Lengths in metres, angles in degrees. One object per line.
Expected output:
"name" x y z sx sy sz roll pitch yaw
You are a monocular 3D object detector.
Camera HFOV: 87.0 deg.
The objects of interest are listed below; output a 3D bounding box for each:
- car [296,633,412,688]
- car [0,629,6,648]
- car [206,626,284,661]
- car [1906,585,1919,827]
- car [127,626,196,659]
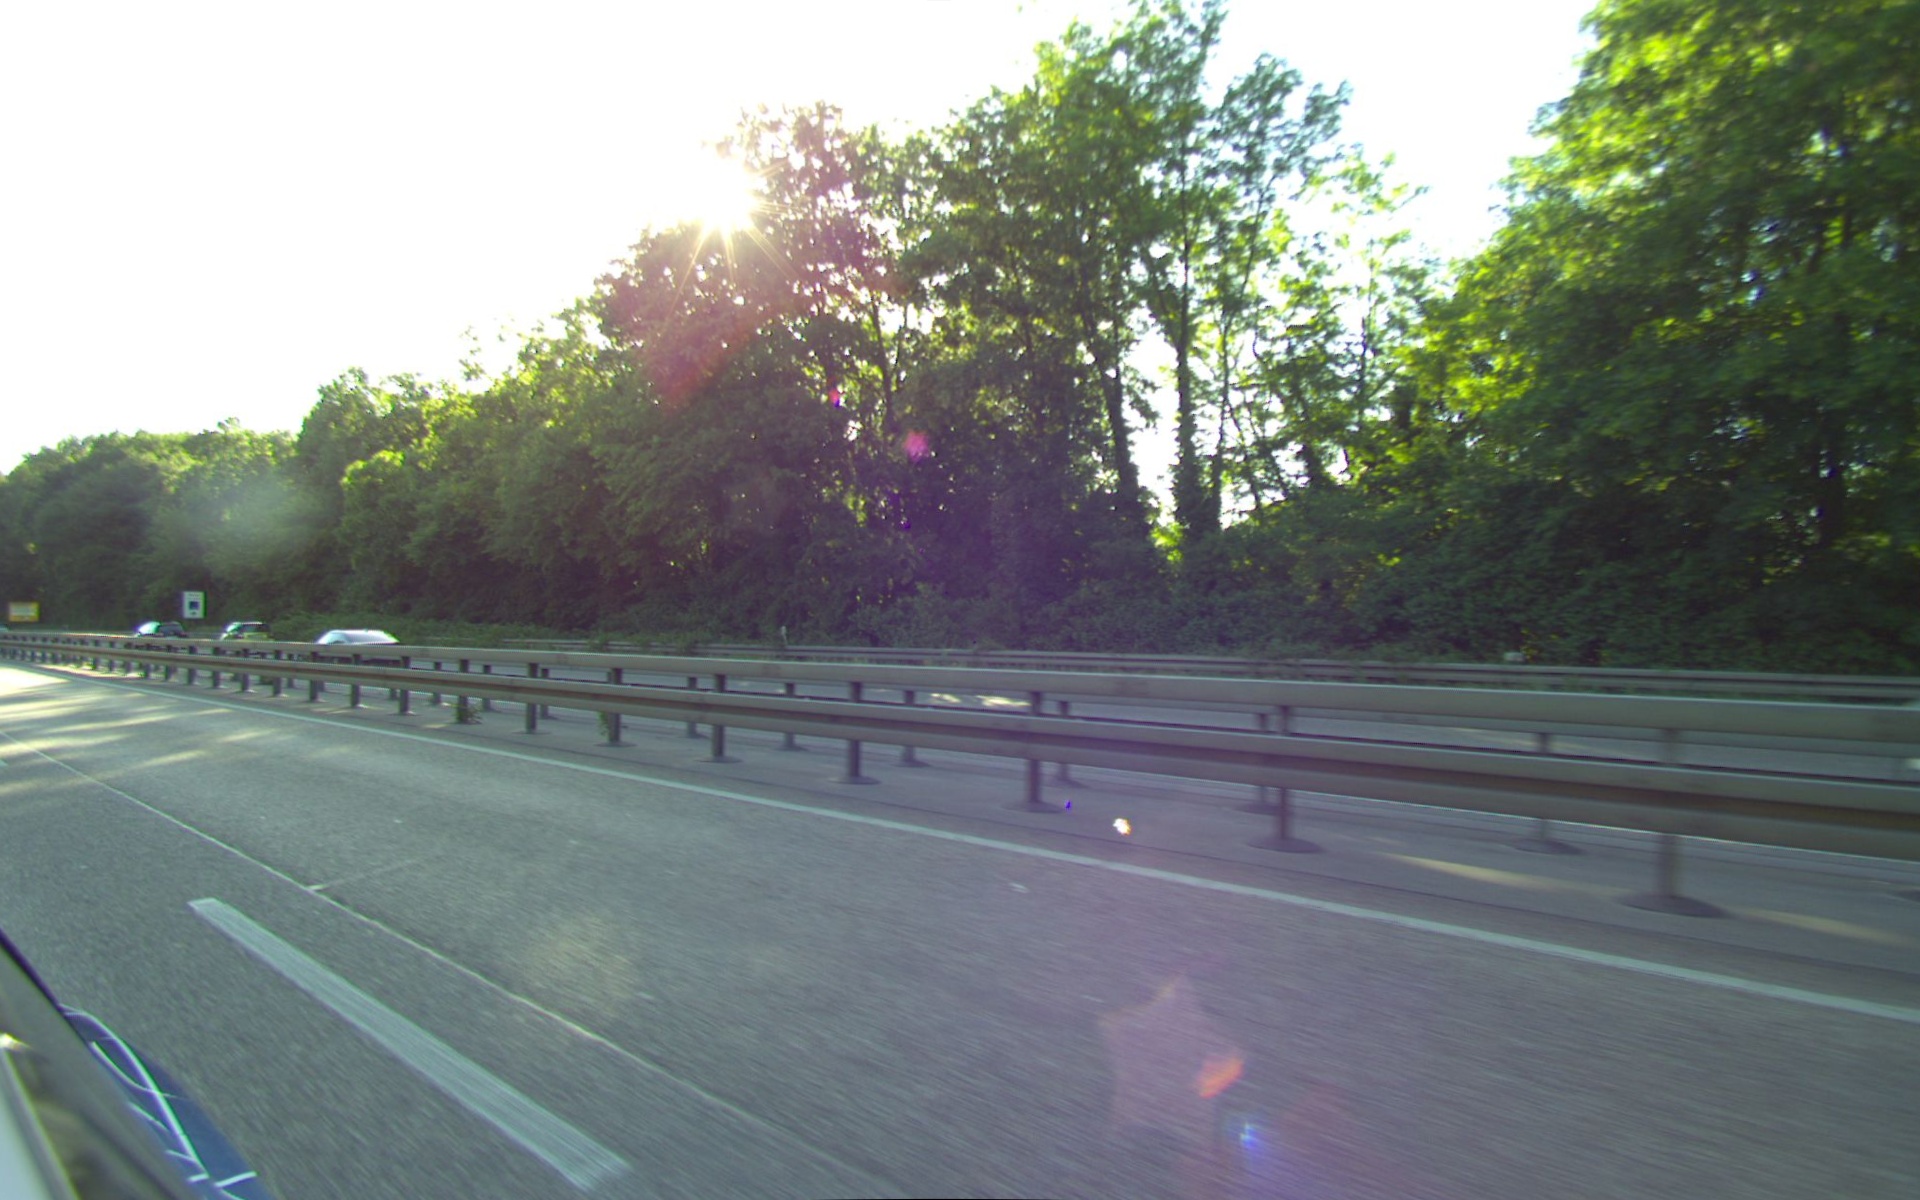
"car" -17.500 1.702 29.149 4.343 1.464 1.581 -2 -4 41
"car" -80.875 3.213 84.468 2.871 1.632 1.400 -1 -2 39
"car" -34.053 2.053 48.200 3.995 1.597 1.974 -1 -4 39
"car" 9.573 0.803 6.164 5.411 1.917 1.868 -2 -4 40
"car" -44.362 2.364 56.201 4.545 1.763 1.974 -1 -4 39
